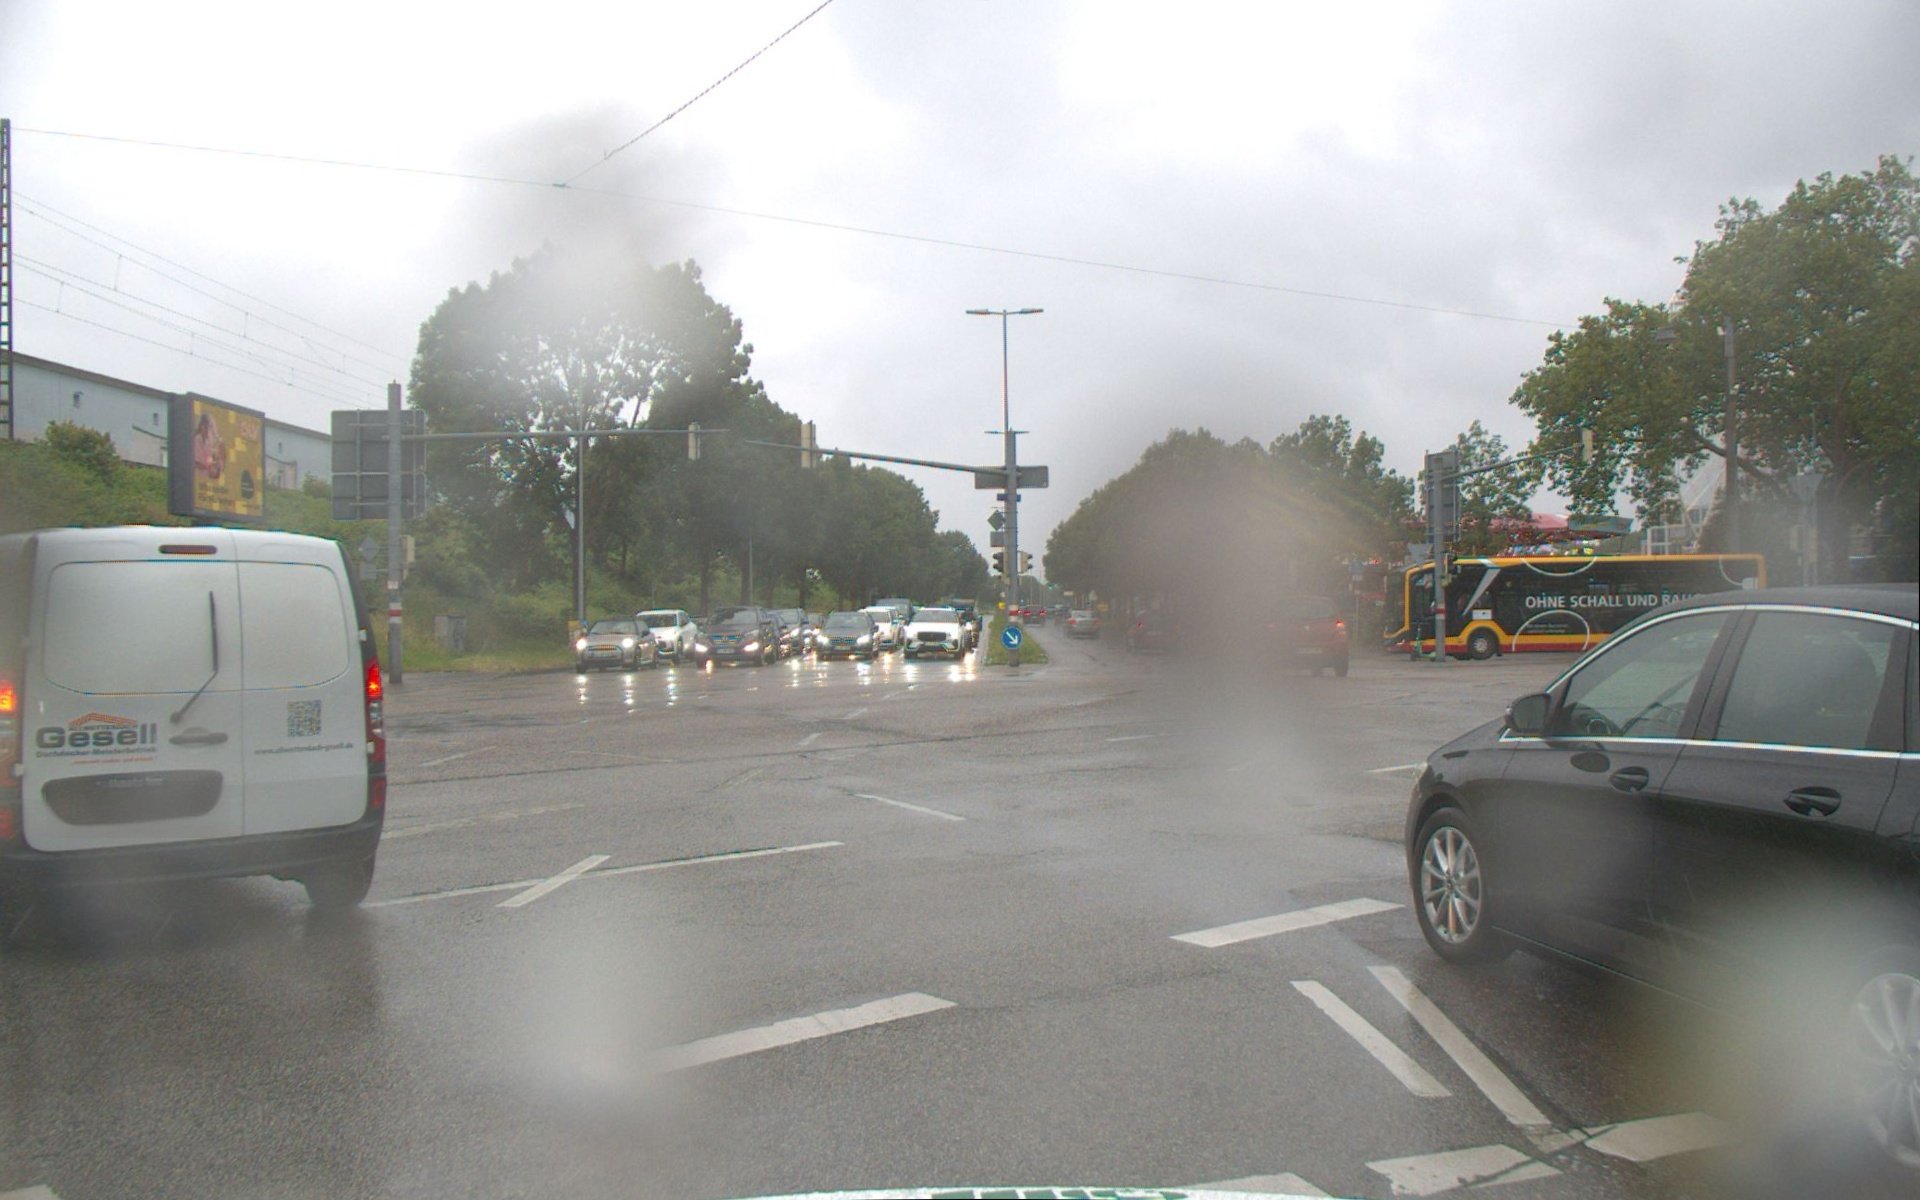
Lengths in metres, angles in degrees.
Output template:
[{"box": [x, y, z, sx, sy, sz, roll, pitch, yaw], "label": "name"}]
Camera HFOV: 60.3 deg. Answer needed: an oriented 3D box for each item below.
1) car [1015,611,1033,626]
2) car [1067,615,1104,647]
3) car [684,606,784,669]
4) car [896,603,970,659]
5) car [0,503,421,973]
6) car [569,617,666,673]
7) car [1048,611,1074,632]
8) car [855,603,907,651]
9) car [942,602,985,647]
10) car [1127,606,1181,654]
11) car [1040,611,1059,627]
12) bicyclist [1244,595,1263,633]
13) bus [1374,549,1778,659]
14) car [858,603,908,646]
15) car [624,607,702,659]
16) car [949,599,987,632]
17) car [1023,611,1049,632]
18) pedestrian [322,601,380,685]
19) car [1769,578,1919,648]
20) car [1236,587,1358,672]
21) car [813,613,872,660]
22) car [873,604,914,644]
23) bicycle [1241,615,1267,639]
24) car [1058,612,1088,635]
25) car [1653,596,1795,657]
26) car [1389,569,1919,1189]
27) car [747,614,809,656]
[{"box": [7.357, 2.088, 189.367, 1.955, 1.646, 4.000, -1, 0, 1], "label": "car"}, {"box": [6.682, 1.646, 88.478, 1.804, 1.646, 4.001, 1, 0, 2], "label": "car"}, {"box": [-6.384, 1.034, 47.180, 1.980, 1.686, 4.063, -1, 0, 4], "label": "car"}, {"box": [-0.847, 0.999, 54.717, 2.124, 1.750, 4.304, -1, 0, 3], "label": "car"}, {"box": [-4.291, 0.521, 8.416, 1.743, 1.808, 3.946, 0, 0, -38], "label": "car"}, {"box": [-9.331, 1.203, 45.336, 1.854, 1.373, 3.999, -1, 0, -1], "label": "car"}, {"box": [8.412, 1.777, 137.956, 1.955, 1.646, 4.000, -1, 0, 1], "label": "car"}, {"box": [-3.016, 1.016, 63.948, 1.826, 1.750, 4.000, -1, 0, 0], "label": "car"}, {"box": [0.112, 0.955, 66.103, 1.567, 1.750, 3.999, -1, 0, -2], "label": "car"}, {"box": [7.171, 1.074, 61.331, 1.599, 1.684, 3.485, 1, 0, 1], "label": "car"}, {"box": [9.741, 2.076, 180.436, 1.955, 1.646, 4.000, -1, 0, 1], "label": "car"}, {"box": [14.968, 0.735, 84.368, 0.752, 1.914, 0.621, -1, -1, -2], "label": "bicyclist"}, {"box": [20.015, 0.124, 54.267, 11.998, 3.326, 3.274, -1, 0, 0], "label": "bus"}, {"box": [-3.242, 1.023, 70.268, 1.807, 1.750, 4.000, -1, 0, 1], "label": "car"}, {"box": [-9.203, 0.998, 51.553, 1.790, 1.508, 3.999, -1, 0, -2], "label": "car"}, {"box": [0.408, 0.813, 89.771, 1.899, 1.750, 3.999, -1, 0, -2], "label": "car"}, {"box": [6.012, 1.693, 131.352, 1.955, 1.646, 4.000, -1, 0, 1], "label": "car"}, {"box": [-12.886, 0.891, 35.034, 0.983, 1.749, 0.818, 0, -1, -7], "label": "pedestrian"}, {"box": [25.158, 0.352, 46.840, 4.692, 1.881, 2.052, -1, 0, -36], "label": "car"}, {"box": [6.362, 0.530, 31.544, 1.644, 1.517, 3.621, 1, 0, 1], "label": "car"}, {"box": [-3.735, 1.148, 53.035, 1.791, 1.382, 3.998, -1, 0, -3], "label": "car"}, {"box": [-2.997, 1.056, 75.139, 1.620, 1.750, 4.000, -1, 0, 1], "label": "car"}, {"box": [14.976, 1.387, 84.318, 0.802, 1.185, 2.259, -1, 0, -2], "label": "bicycle"}, {"box": [8.133, 1.678, 119.278, 1.955, 1.646, 4.000, -1, 0, 1], "label": "car"}, {"box": [22.228, 0.744, 48.084, 4.294, 1.680, 1.909, -1, 0, -36], "label": "car"}, {"box": [3.124, 0.675, 5.577, 1.835, 1.550, 4.080, -1, 1, -8], "label": "car"}, {"box": [-6.437, 1.213, 58.937, 1.790, 1.382, 3.999, -1, 0, -1], "label": "car"}]
